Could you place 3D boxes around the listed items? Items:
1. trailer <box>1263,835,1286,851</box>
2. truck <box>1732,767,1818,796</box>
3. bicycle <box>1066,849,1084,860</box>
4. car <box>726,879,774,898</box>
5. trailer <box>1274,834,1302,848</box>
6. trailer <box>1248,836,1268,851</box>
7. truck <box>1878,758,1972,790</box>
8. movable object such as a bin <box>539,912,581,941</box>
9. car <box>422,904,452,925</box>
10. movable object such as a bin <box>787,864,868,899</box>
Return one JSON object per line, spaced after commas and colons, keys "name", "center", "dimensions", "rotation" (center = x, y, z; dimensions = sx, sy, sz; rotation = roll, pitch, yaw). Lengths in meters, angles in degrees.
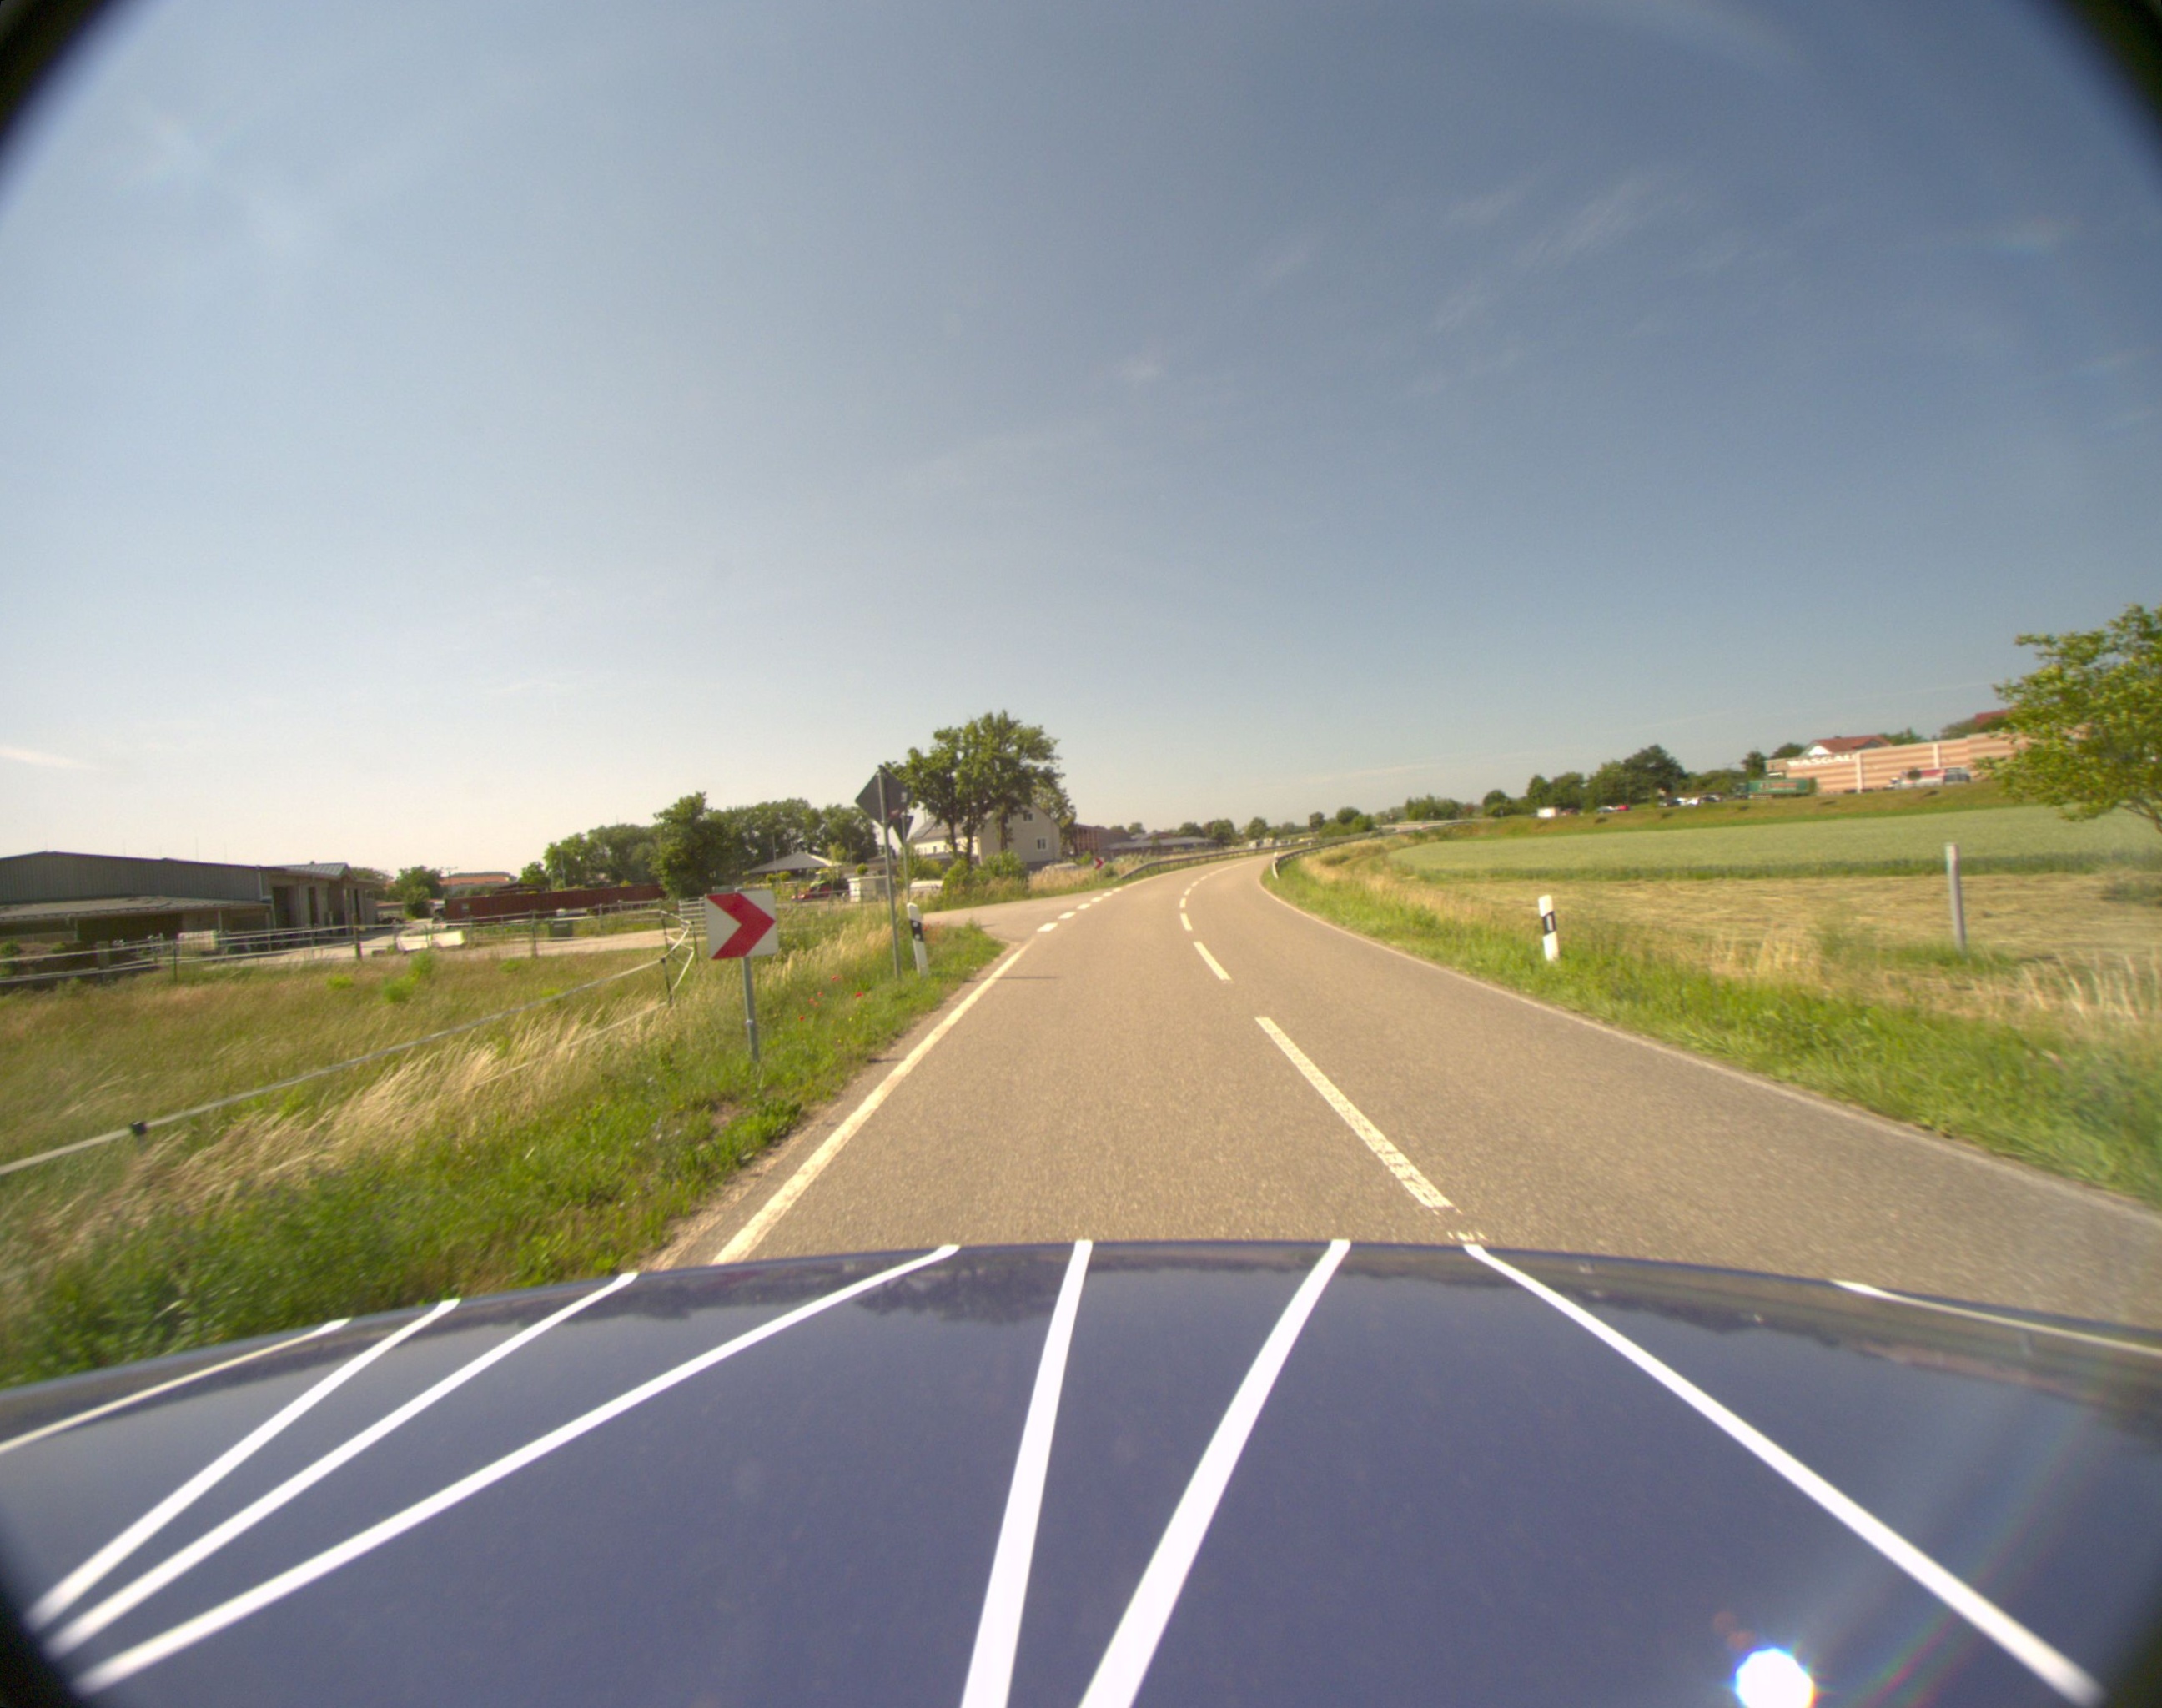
{"name": "trailer", "center": [37.607, -2.125, 147.829], "dimensions": [2.234, 2.848, 5.040], "rotation": [-4, 0, -9]}
{"name": "truck", "center": [114.154, -11.874, 125.201], "dimensions": [2.881, 3.457, 9.923], "rotation": [-7, 2, -28]}
{"name": "bicycle", "center": [-0.721, 0.049, 93.022], "dimensions": [1.973, 1.185, 0.713], "rotation": [-5, 1, -34]}
{"name": "car", "center": [-32.704, 3.411, 75.076], "dimensions": [3.882, 1.565, 1.995], "rotation": [-5, 1, -38]}
{"name": "trailer", "center": [43.560, -2.699, 159.979], "dimensions": [2.212, 2.672, 5.177], "rotation": [-4, 0, -34]}
{"name": "trailer", "center": [33.762, -2.106, 145.102], "dimensions": [2.175, 2.656, 4.476], "rotation": [-4, 2, -9]}
{"name": "truck", "center": [125.612, -11.875, 113.292], "dimensions": [2.882, 3.544, 8.864], "rotation": [-7, 2, -31]}
{"name": "movable object such as a bin", "center": [-27.875, 3.871, 40.659], "dimensions": [1.519, 1.341, 1.370], "rotation": [-6, 1, -44]}
{"name": "car", "center": [-74.039, 6.950, 87.383], "dimensions": [2.002, 2.002, 3.991], "rotation": [-7, 2, -33]}
{"name": "movable object such as a bin", "center": [-24.352, 2.613, 73.224], "dimensions": [3.005, 2.753, 6.516], "rotation": [-6, -1, 42]}
